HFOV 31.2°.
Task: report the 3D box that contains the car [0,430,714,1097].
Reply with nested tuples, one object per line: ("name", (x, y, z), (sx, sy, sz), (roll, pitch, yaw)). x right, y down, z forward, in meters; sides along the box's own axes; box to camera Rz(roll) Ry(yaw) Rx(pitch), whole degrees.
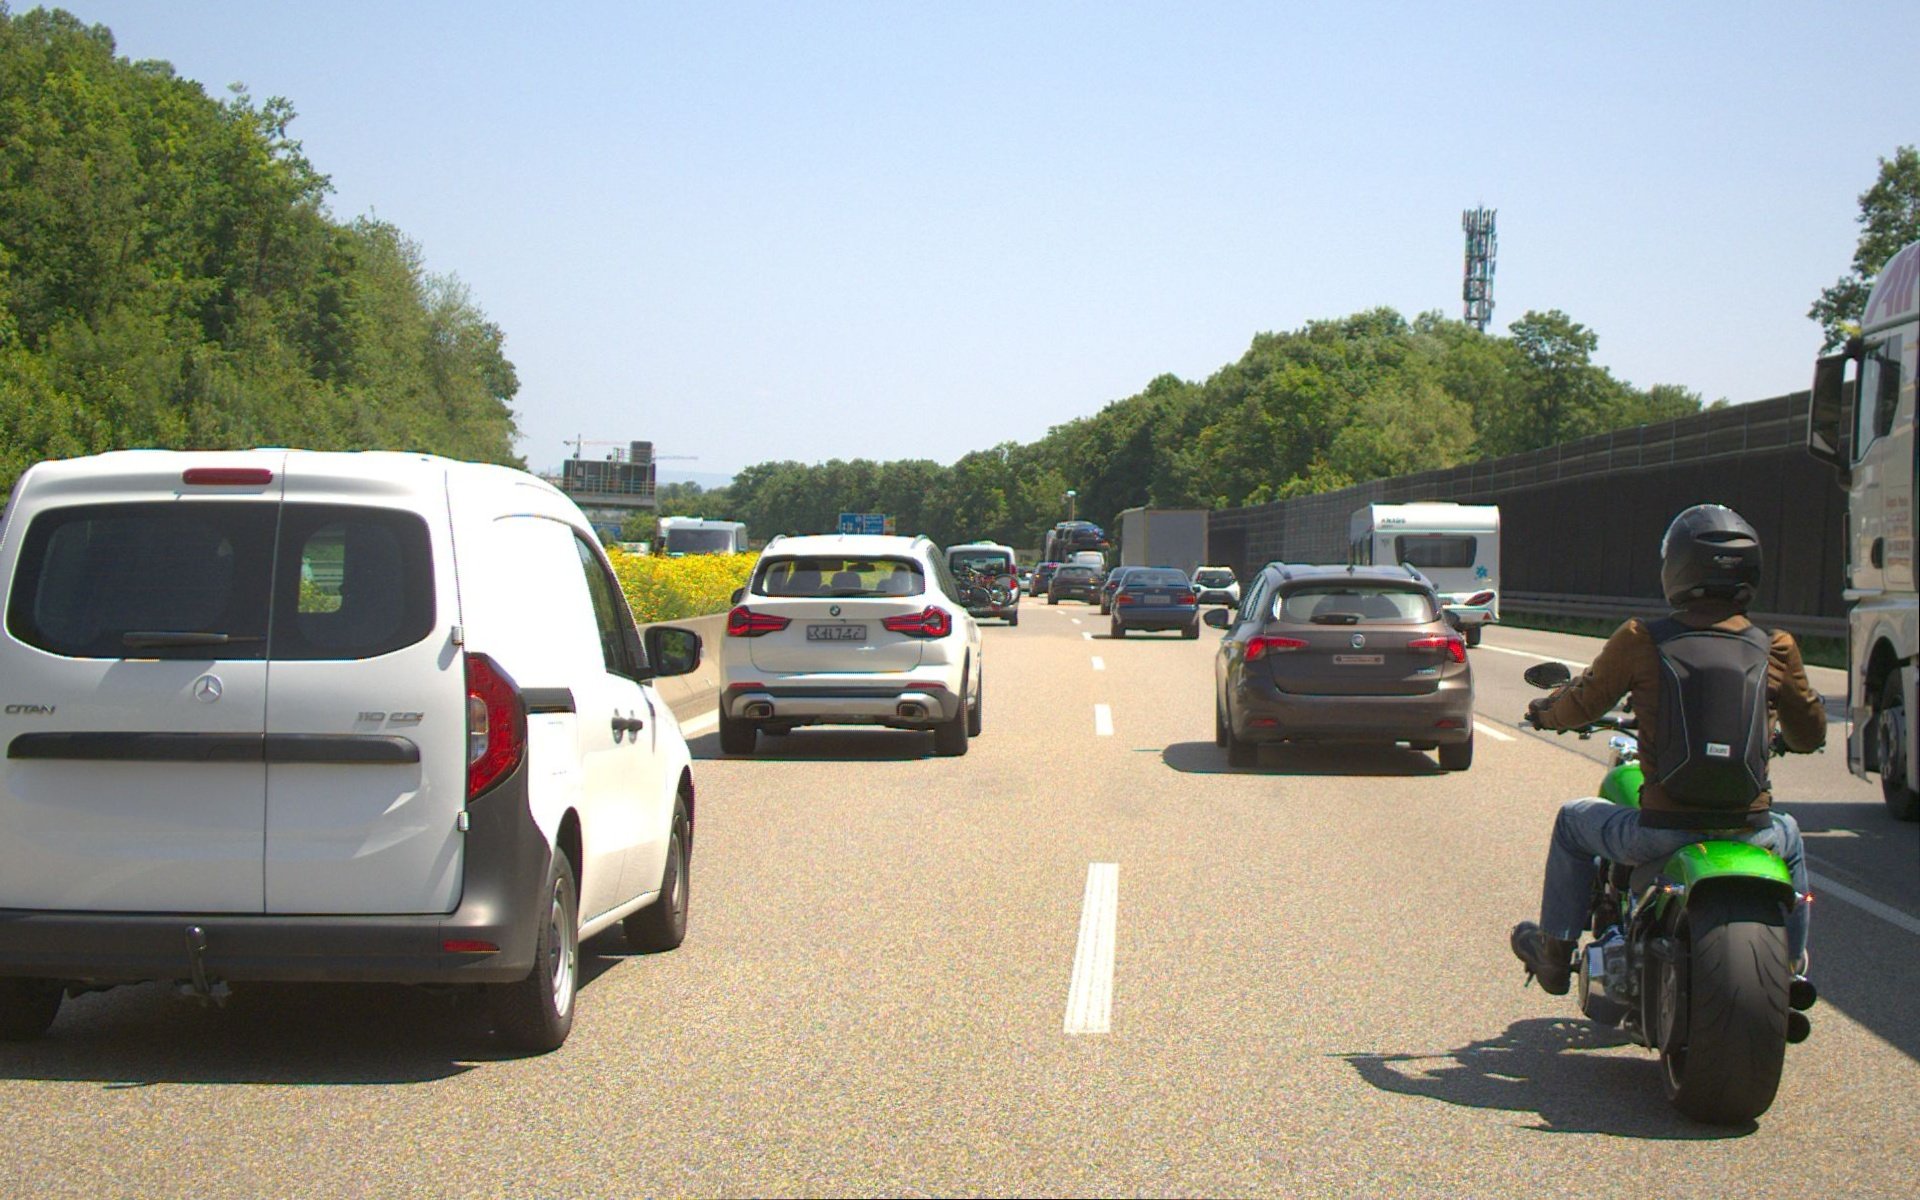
("car", (-1.985, 0.420, 11.774), (1.765, 1.806, 4.674), (1, 1, 2))

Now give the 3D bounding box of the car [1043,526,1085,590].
("car", (6.380, -2.600, 211.110), (2.133, 3.848, 8.142), (1, 1, -1))

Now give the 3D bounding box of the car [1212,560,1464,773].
("car", (2.756, 0.468, 25.737), (1.662, 1.448, 3.868), (1, 0, 3))

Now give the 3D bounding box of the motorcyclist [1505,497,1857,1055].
("motorcyclist", (2.091, 0.471, 10.109), (0.900, 1.470, 1.871), (1, 0, 10))

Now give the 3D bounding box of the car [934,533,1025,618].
("car", (0.472, -0.545, 78.898), (1.899, 1.867, 4.412), (1, 0, 2))

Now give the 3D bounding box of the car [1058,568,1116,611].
("car", (4.974, -0.393, 134.983), (1.993, 1.634, 4.000), (1, 0, -1))

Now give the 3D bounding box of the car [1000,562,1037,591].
("car", (3.170, -1.241, 185.762), (1.832, 1.491, 3.744), (1, 0, -1))

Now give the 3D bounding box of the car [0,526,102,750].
("car", (-8.264, 0.276, 26.552), (1.924, 1.704, 4.627), (1, 0, 2))

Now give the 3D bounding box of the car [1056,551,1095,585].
("car", (6.638, -1.851, 197.457), (2.108, 1.870, 4.000), (1, 0, 0))

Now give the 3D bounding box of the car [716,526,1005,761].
("car", (-0.697, 0.290, 27.550), (1.864, 1.688, 4.955), (1, 1, 3))

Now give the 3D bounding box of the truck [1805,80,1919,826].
("truck", (6.753, -0.807, 19.059), (2.886, 4.132, 5.985), (1, 1, 3))

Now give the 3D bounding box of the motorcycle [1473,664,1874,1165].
("motorcycle", (2.048, 0.816, 10.080), (0.965, 1.144, 2.810), (2, 1, 10))

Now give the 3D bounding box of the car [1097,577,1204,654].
("car", (3.696, 0.308, 66.734), (1.994, 1.425, 3.847), (1, 0, 3))

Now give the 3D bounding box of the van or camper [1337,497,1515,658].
("van or camper", (8.641, -0.380, 64.432), (2.685, 2.803, 6.802), (1, 0, 3))

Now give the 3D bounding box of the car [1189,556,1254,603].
("car", (9.321, -0.719, 122.741), (1.993, 1.569, 4.000), (1, 0, 0))

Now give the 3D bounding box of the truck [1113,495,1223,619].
("truck", (8.597, -1.704, 143.095), (3.802, 4.943, 8.951), (1, 0, -1))

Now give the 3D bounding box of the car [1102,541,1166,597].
("car", (4.990, -0.900, 98.609), (1.779, 1.546, 3.585), (1, 1, 3))

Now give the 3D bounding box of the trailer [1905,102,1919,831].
("trailer", (6.361, -0.645, 12.190), (2.886, 4.025, 13.794), (1, 1, 3))

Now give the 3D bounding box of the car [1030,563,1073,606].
("car", (4.372, -0.735, 164.066), (1.911, 2.007, 3.691), (1, 0, 0))

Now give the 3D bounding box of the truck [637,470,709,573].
("truck", (-15.819, -4.267, 190.019), (3.480, 5.258, 10.018), (1, -1, -3))

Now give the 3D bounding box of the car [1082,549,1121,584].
("car", (7.880, -1.858, 191.827), (2.108, 1.870, 4.000), (1, 0, 2))

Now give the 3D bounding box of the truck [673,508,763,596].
("truck", (-6.380, -1.282, 91.330), (1.837, 2.218, 6.196), (1, 1, 1))
